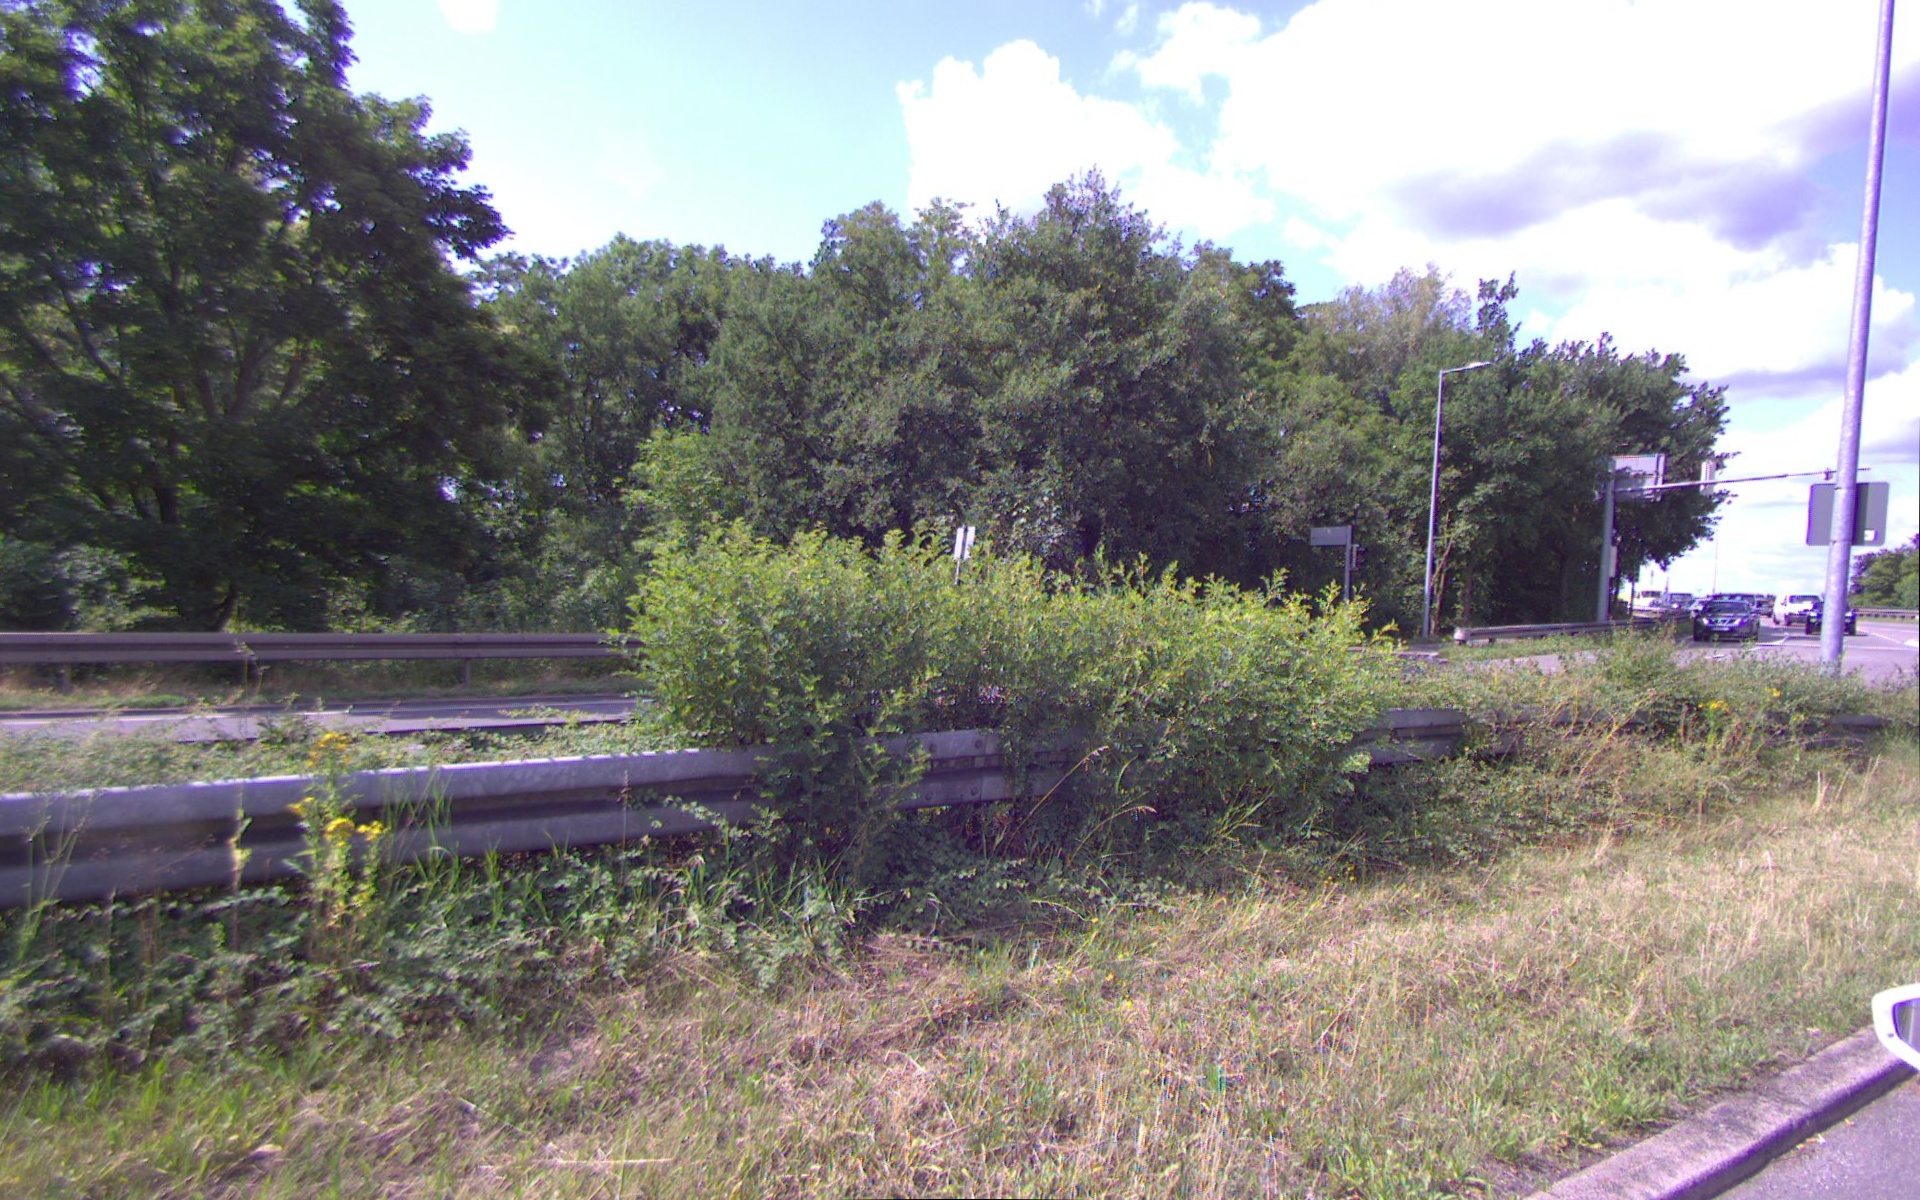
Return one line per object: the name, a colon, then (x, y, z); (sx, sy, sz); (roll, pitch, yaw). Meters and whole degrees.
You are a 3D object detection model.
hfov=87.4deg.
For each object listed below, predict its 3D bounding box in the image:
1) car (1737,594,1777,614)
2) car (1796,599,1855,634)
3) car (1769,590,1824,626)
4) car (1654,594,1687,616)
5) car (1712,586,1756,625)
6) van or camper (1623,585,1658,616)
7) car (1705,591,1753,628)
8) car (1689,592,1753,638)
car: (66.213, 0.326, 83.518); (1.964, 1.516, 4.111); (2, 1, 30)
car: (40.145, 0.750, 46.664); (1.709, 1.516, 4.031); (2, 1, 37)
car: (50.154, 0.446, 60.302); (1.966, 2.041, 4.458); (2, 1, 33)
car: (58.026, 0.394, 82.084); (1.817, 1.728, 4.316); (2, 1, 32)
car: (44.858, 0.329, 58.267); (1.819, 2.128, 4.311); (2, 1, 36)
van or camper: (64.687, 0.052, 95.530); (1.963, 2.719, 6.852); (2, 1, 28)
car: (39.951, 0.480, 52.133); (1.820, 1.826, 4.307); (2, 1, 39)
car: (29.933, 0.613, 39.472); (1.816, 1.639, 3.982); (2, 0, 39)
